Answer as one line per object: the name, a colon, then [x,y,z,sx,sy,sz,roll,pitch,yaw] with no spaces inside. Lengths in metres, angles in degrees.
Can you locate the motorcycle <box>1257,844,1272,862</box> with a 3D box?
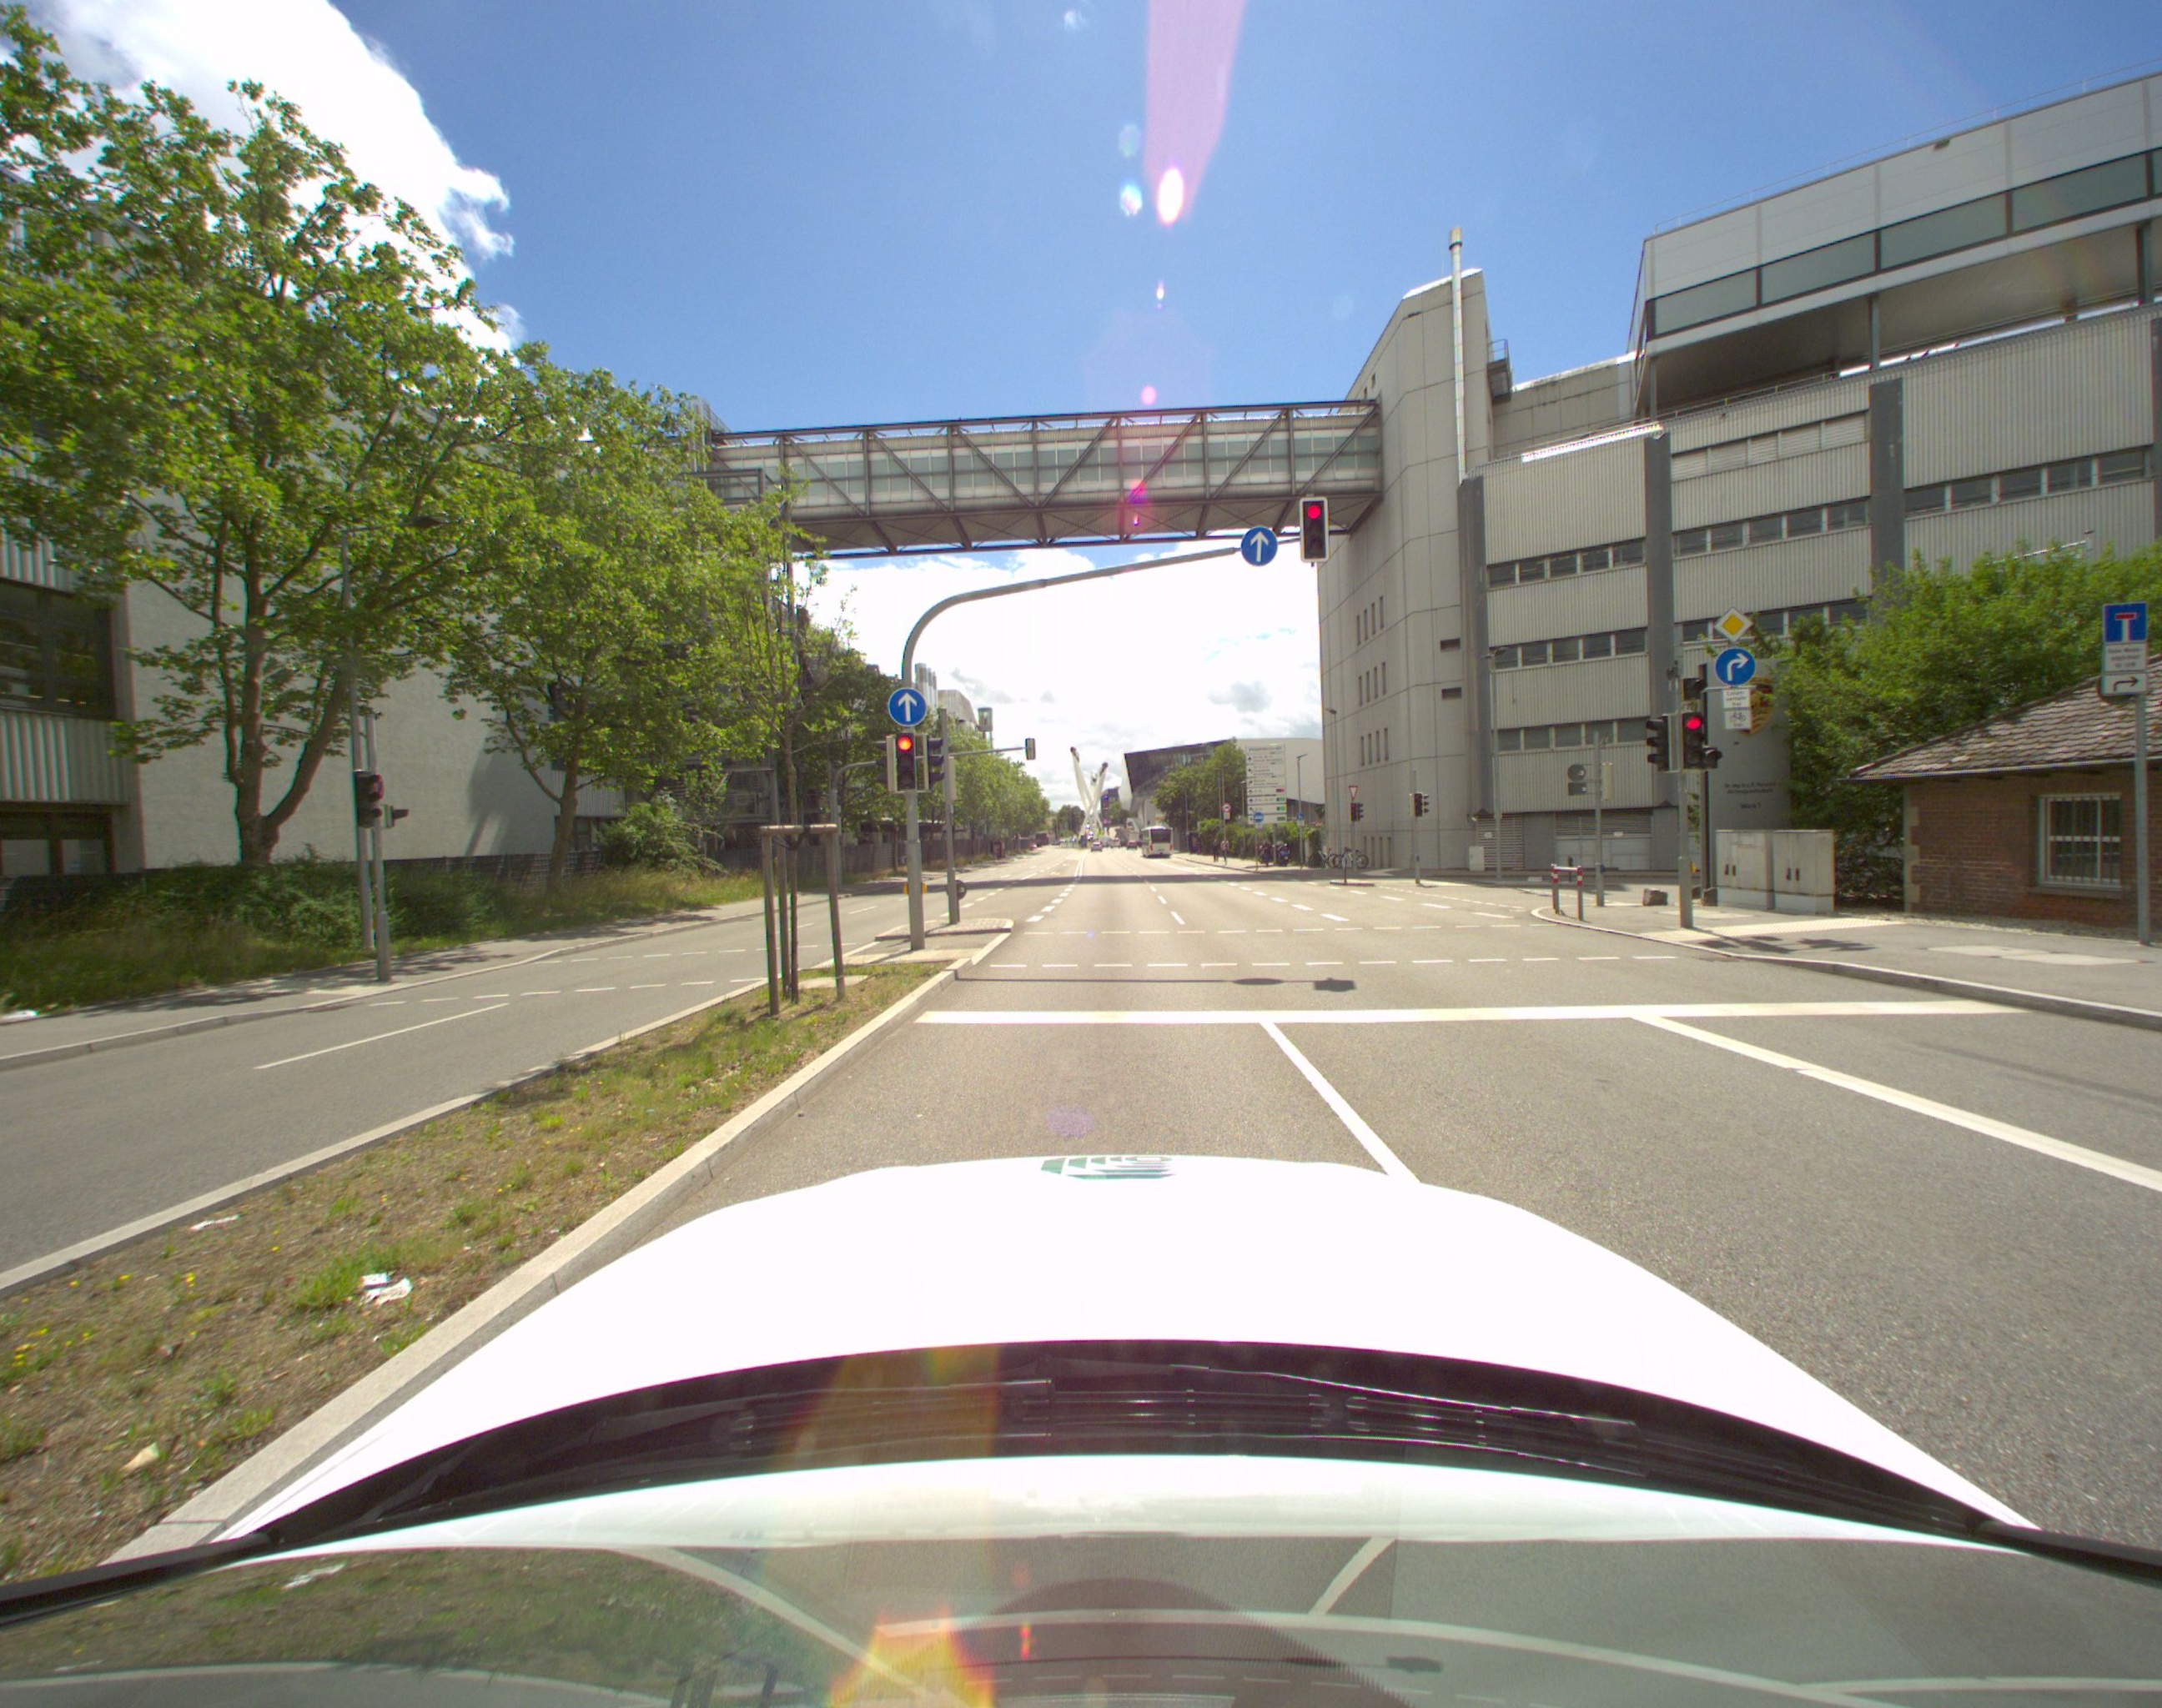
motorcycle: [12.551,-0.073,55.682,0.572,1.203,2.025,-3,1,2]

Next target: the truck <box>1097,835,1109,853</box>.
truck: [4.697,-2.170,175.311,2.383,3.897,6.180,-1,0,2]

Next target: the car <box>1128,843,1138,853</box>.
car: [9.312,-1.076,146.164,1.732,1.741,3.693,-1,0,2]

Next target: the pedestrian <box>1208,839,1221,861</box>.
pedestrian: [10.519,-0.337,64.143,0.817,1.707,0.881,-1,0,1]

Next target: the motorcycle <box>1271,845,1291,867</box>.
motorcycle: [11.740,0.093,47.835,0.704,1.203,2.025,-3,1,2]

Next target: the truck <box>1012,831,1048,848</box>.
truck: [-13.845,-4.006,223.290,3.529,4.324,12.242,-1,-1,30]

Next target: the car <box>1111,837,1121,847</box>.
car: [7.128,-2.453,165.691,1.986,2.014,4.001,0,-1,1]

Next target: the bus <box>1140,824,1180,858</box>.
bus: [8.653,-1.399,90.303,3.441,3.543,10.606,-1,0,1]

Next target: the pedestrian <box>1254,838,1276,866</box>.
pedestrian: [10.910,-0.143,48.239,0.839,1.624,0.962,-1,0,43]

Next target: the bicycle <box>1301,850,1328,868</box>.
bicycle: [12.578,0.243,43.891,0.398,0.937,1.917,-1,0,-17]

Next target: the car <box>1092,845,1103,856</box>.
car: [2.754,-0.581,132.841,1.732,1.741,3.693,-1,0,2]

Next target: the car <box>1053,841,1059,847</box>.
car: [-7.212,-2.936,233.907,1.579,1.537,3.675,-1,0,-3]

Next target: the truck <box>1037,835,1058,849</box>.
truck: [-9.979,-3.557,241.346,2.453,3.894,7.125,-1,-1,35]

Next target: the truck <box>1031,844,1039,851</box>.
truck: [-11.887,-1.648,208.952,1.584,1.537,3.665,-1,0,-11]

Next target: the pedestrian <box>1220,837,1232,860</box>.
pedestrian: [11.447,-0.444,64.140,0.817,1.741,0.637,-1,0,1]

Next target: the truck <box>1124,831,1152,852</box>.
truck: [12.332,-2.688,174.593,3.424,4.391,9.466,-1,0,19]

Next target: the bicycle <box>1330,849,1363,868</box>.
bicycle: [13.525,0.245,41.581,0.399,0.937,1.913,-1,0,-24]
